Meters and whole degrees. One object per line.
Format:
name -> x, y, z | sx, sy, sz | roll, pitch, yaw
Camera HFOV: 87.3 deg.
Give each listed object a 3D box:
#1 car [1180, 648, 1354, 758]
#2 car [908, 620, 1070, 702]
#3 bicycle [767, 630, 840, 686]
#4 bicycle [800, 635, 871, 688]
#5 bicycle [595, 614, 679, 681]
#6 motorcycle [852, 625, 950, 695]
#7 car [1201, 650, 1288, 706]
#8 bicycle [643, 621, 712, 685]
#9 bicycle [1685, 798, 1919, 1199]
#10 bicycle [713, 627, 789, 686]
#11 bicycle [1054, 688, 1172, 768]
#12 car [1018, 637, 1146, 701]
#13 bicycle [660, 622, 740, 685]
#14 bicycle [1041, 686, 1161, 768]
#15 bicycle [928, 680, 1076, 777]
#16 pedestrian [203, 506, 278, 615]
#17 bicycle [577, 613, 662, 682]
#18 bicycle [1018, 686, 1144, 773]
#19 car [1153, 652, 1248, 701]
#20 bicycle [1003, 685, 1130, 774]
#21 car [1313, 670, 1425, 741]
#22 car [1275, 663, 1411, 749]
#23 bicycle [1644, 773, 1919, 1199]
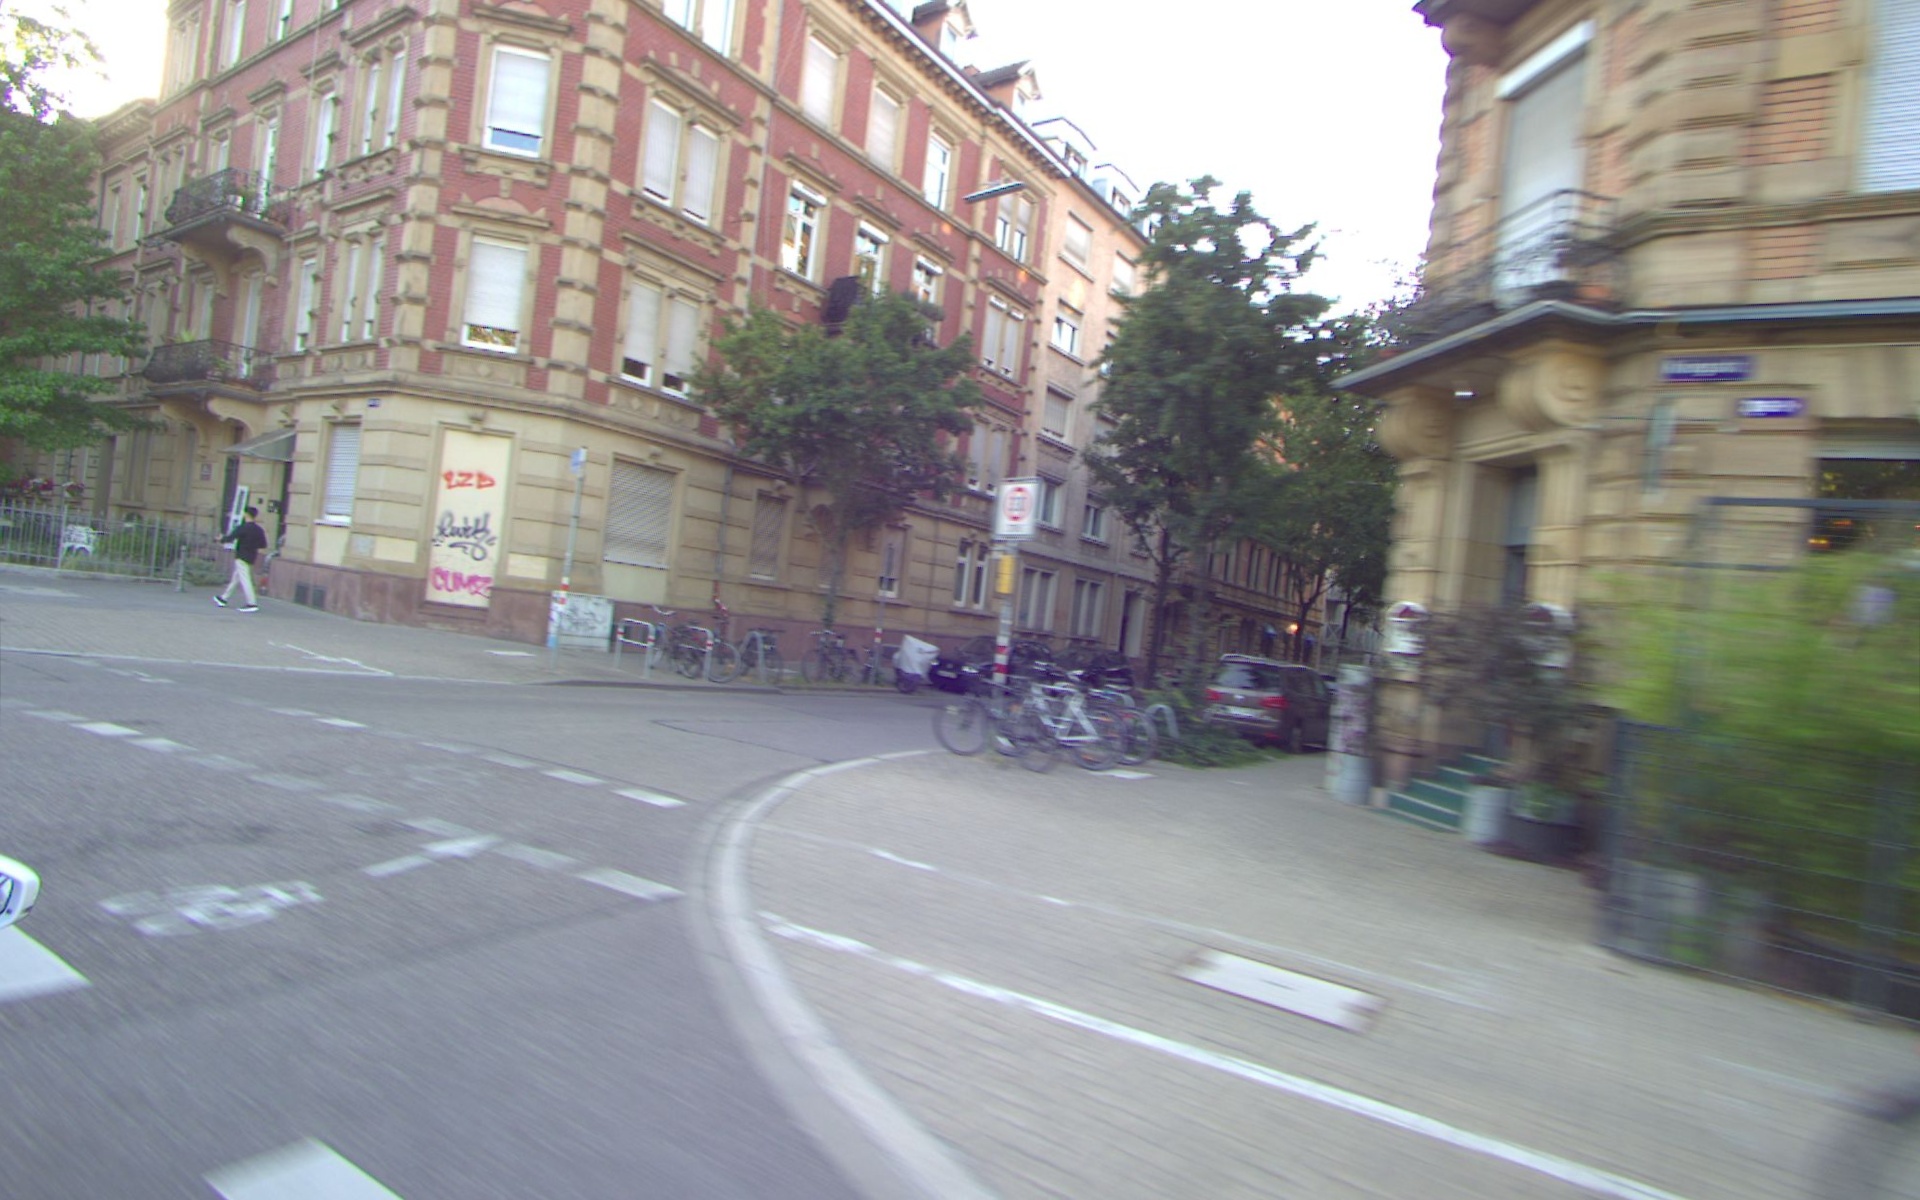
car -> 5.856, 1.924, 18.885 | 1.820, 1.625, 3.989 | 7, -1, 35
car -> 0.792, 1.556, 24.823 | 1.968, 1.526, 3.990 | 10, 1, 35
bicycle -> -3.119, 1.145, 19.956 | 1.472, 0.826, 0.295 | 10, 0, 32
bicycle -> -2.581, 1.257, 20.795 | 1.472, 0.826, 0.295 | 10, 0, 32
bicycle -> -5.241, 0.761, 16.285 | 1.472, 0.826, 0.292 | 10, 0, 32
motorcycle -> -1.335, 1.312, 22.213 | 0.880, 1.135, 2.183 | 11, -1, -40
car -> 11.331, 3.119, 39.927 | 1.951, 1.891, 3.989 | 7, -1, 35
bicycle -> -4.777, 0.887, 16.965 | 1.477, 0.826, 0.294 | 10, 0, 44
bicycle -> 2.289, 1.125, 1.215 | 2.227, 1.317, 0.565 | 5, 3, 31
bicycle -> -3.902, 1.045, 18.765 | 1.472, 0.826, 0.295 | 10, 0, 32
bicycle -> 1.924, 1.613, 12.806 | 1.477, 0.826, 0.294 | 3, -3, 40
car -> 3.577, 2.013, 28.801 | 1.884, 1.474, 3.990 | 6, -1, 35
bicycle -> -4.486, 0.912, 17.330 | 1.472, 0.826, 0.295 | 10, 0, 32
bicycle -> 1.739, 1.568, 12.545 | 1.477, 0.826, 0.294 | 3, -3, 40
bicycle -> 0.423, 1.360, 10.877 | 1.711, 0.826, 0.294 | 3, -3, 40
pedestrian -> -12.478, -0.678, 17.451 | 0.818, 1.803, 0.745 | 7, 3, 31
bicycle -> -5.412, 0.745, 15.962 | 1.472, 0.826, 0.292 | 10, 0, 32
bicycle -> 1.390, 1.499, 11.768 | 1.477, 0.826, 0.294 | 3, -3, 40
car -> 8.658, 2.751, 35.947 | 1.884, 1.409, 3.990 | 6, -1, 35
bicycle -> 1.197, 1.466, 11.519 | 1.477, 0.826, 0.294 | 3, -3, 40
car -> 11.141, 2.839, 27.233 | 1.820, 1.541, 3.989 | 7, -1, 35
car -> 8.781, 2.400, 22.880 | 1.820, 1.541, 3.989 | 7, -1, 35
bicycle -> 2.577, 1.150, 1.718 | 2.227, 1.292, 0.565 | 5, 3, 31
